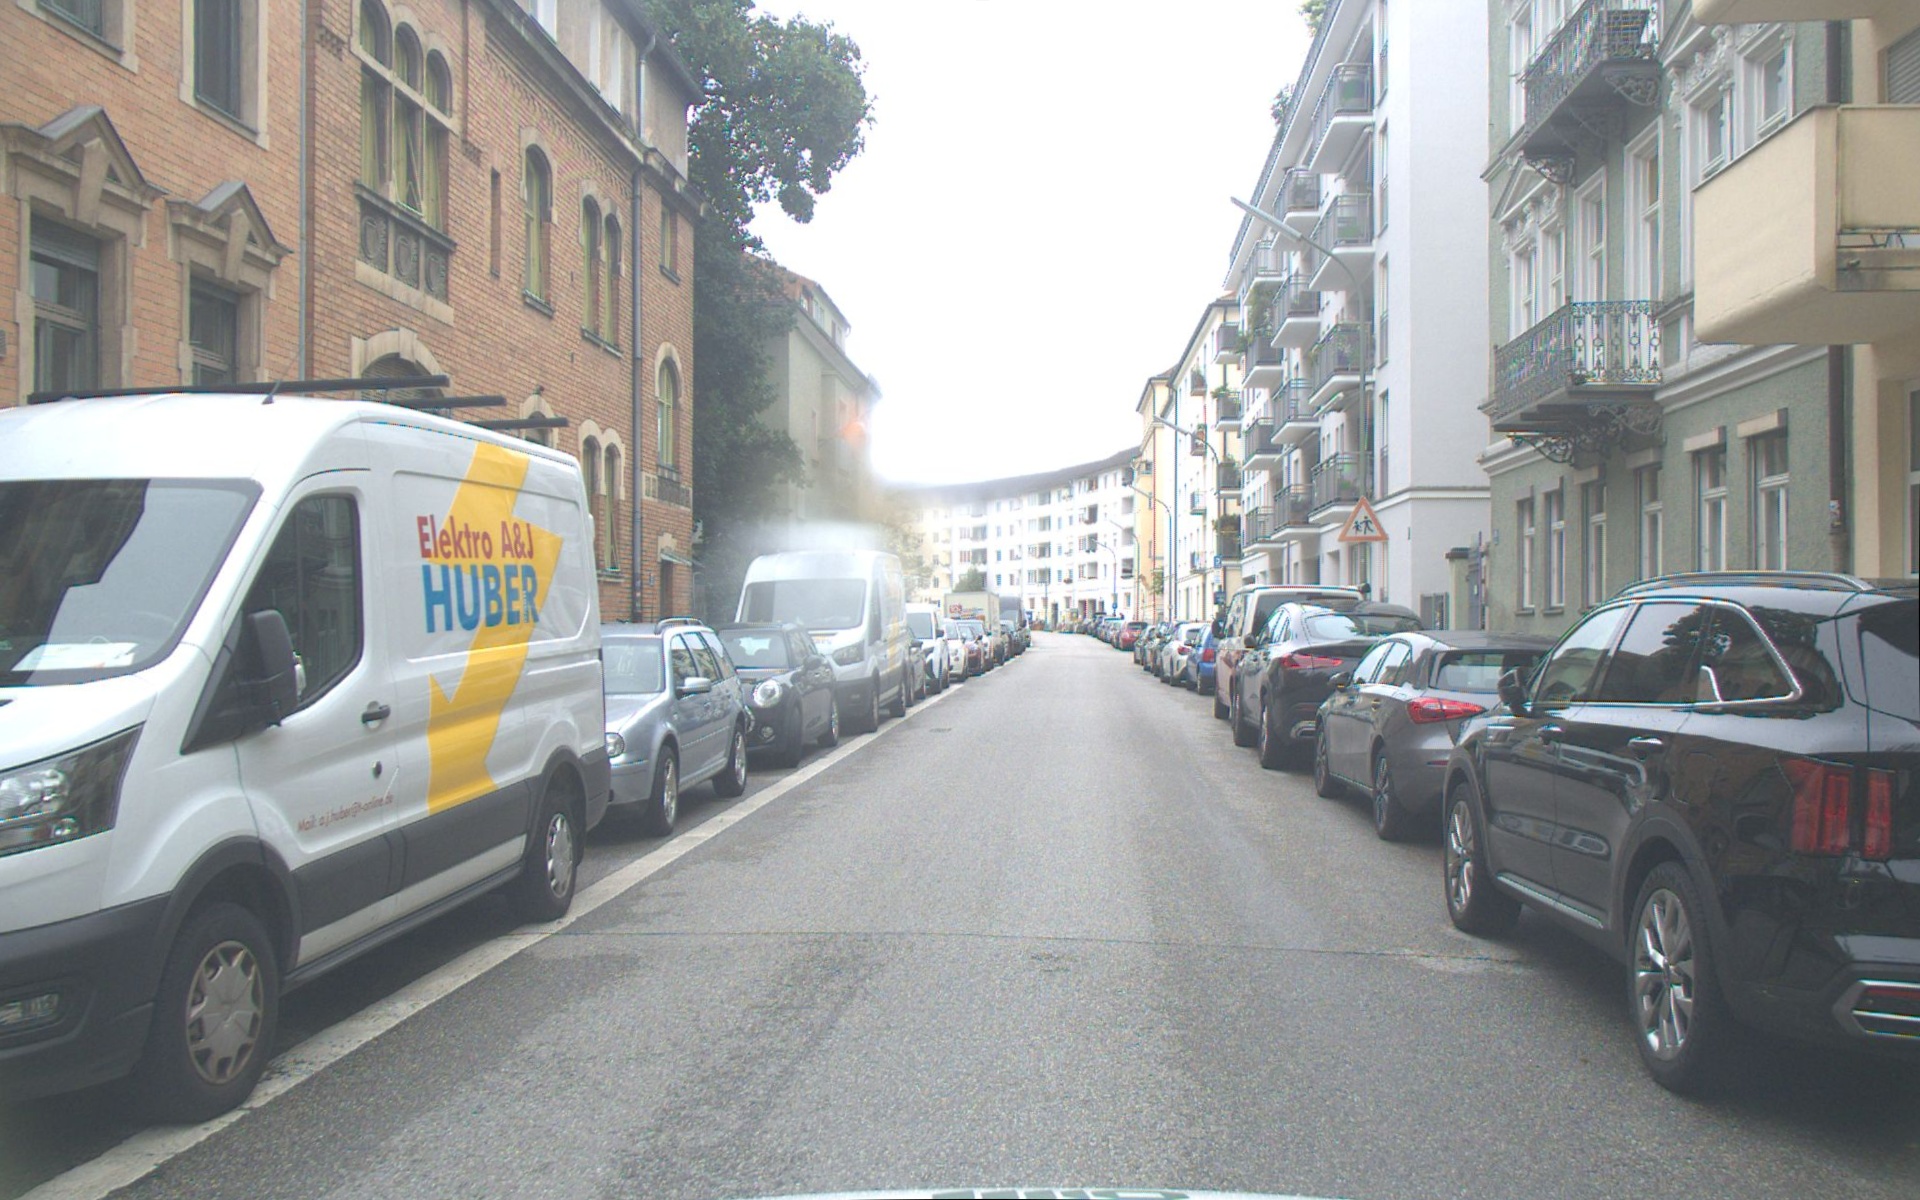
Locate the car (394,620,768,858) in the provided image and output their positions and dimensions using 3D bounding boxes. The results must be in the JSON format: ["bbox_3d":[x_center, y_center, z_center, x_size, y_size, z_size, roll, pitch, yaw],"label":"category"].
[{"bbox_3d":[-2.700,0.930,12.732,1.653,1.480,3.999,-2,-1,4],"label":"car"}]

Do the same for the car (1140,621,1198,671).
[{"bbox_3d":[6.343,1.400,50.570,1.614,1.459,4.002,0,-1,5],"label":"car"}]

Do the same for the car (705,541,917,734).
[{"bbox_3d":[-1.930,0.514,23.226,2.092,2.391,5.372,0,-1,4],"label":"car"}]

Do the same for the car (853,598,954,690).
[{"bbox_3d":[-1.091,0.882,33.719,1.783,1.741,4.001,0,-1,2],"label":"car"}]

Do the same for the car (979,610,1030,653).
[{"bbox_3d":[1.961,1.378,71.931,1.951,1.793,4.383,0,-1,5],"label":"car"}]

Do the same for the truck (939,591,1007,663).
[{"bbox_3d":[0.515,0.942,57.518,1.951,2.360,5.412,0,-1,5],"label":"truck"}]

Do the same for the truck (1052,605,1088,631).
[{"bbox_3d":[10.130,1.629,152.674,2.185,2.341,5.277,0,0,-10],"label":"truck"}]

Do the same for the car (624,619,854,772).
[{"bbox_3d":[-2.276,0.963,17.968,1.662,1.456,3.832,-1,-1,5],"label":"car"}]

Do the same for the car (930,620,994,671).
[{"bbox_3d":[0.098,1.384,50.728,1.758,1.494,3.868,0,-1,2],"label":"car"}]

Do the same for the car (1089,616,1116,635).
[{"bbox_3d":[10.986,1.987,127.988,1.746,1.410,4.000,0,0,0],"label":"car"}]

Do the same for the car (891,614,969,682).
[{"bbox_3d":[-0.691,1.148,40.318,1.808,1.567,4.000,0,-1,0],"label":"car"}]

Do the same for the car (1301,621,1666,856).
[{"bbox_3d":[3.865,0.930,12.984,1.691,1.485,4.418,1,-1,4],"label":"car"}]

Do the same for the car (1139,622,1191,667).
[{"bbox_3d":[7.014,1.508,56.844,1.614,1.459,4.286,0,-1,5],"label":"car"}]

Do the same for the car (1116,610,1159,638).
[{"bbox_3d":[9.012,1.207,84.170,1.746,1.410,4.000,0,0,0],"label":"car"}]

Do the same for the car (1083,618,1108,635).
[{"bbox_3d":[11.383,2.185,139.046,1.746,1.410,4.000,0,0,0],"label":"car"}]

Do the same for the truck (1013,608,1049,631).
[{"bbox_3d":[7.474,2.077,174.358,2.574,2.341,5.426,1,-1,-11],"label":"truck"}]

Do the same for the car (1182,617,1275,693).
[{"bbox_3d":[5.469,1.106,34.019,1.574,1.459,3.621,0,-1,4],"label":"car"}]

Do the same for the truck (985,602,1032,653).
[{"bbox_3d":[2.347,1.310,78.514,1.951,2.360,5.412,0,-1,5],"label":"truck"}]

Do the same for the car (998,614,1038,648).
[{"bbox_3d":[3.163,1.697,90.011,1.951,1.793,4.383,0,-1,5],"label":"car"}]

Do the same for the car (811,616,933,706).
[{"bbox_3d":[-1.478,1.045,29.260,1.707,1.470,4.001,0,-1,3],"label":"car"}]

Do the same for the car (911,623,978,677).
[{"bbox_3d":[-0.396,1.343,45.077,1.715,1.392,4.000,0,-1,0],"label":"car"}]

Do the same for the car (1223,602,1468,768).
[{"bbox_3d":[4.066,0.859,18.222,1.820,1.578,4.755,0,-1,3],"label":"car"}]

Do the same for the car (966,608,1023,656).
[{"bbox_3d":[1.395,1.263,65.362,1.951,1.793,4.383,0,-1,5],"label":"car"}]

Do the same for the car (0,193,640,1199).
[{"bbox_3d":[-3.033,0.349,6.778,1.950,2.511,5.473,-2,-1,4],"label":"car"}]

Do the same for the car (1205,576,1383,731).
[{"bbox_3d":[4.704,0.744,23.936,1.830,2.002,4.818,0,-1,3],"label":"car"}]

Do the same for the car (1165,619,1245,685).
[{"bbox_3d":[5.646,1.186,38.488,1.614,1.459,4.002,0,-1,5],"label":"car"}]

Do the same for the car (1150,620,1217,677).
[{"bbox_3d":[5.985,1.294,44.629,1.614,1.459,4.002,0,-1,5],"label":"car"}]

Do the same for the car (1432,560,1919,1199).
[{"bbox_3d":[3.294,0.766,6.498,1.811,1.667,4.551,0,-1,3],"label":"car"}]
